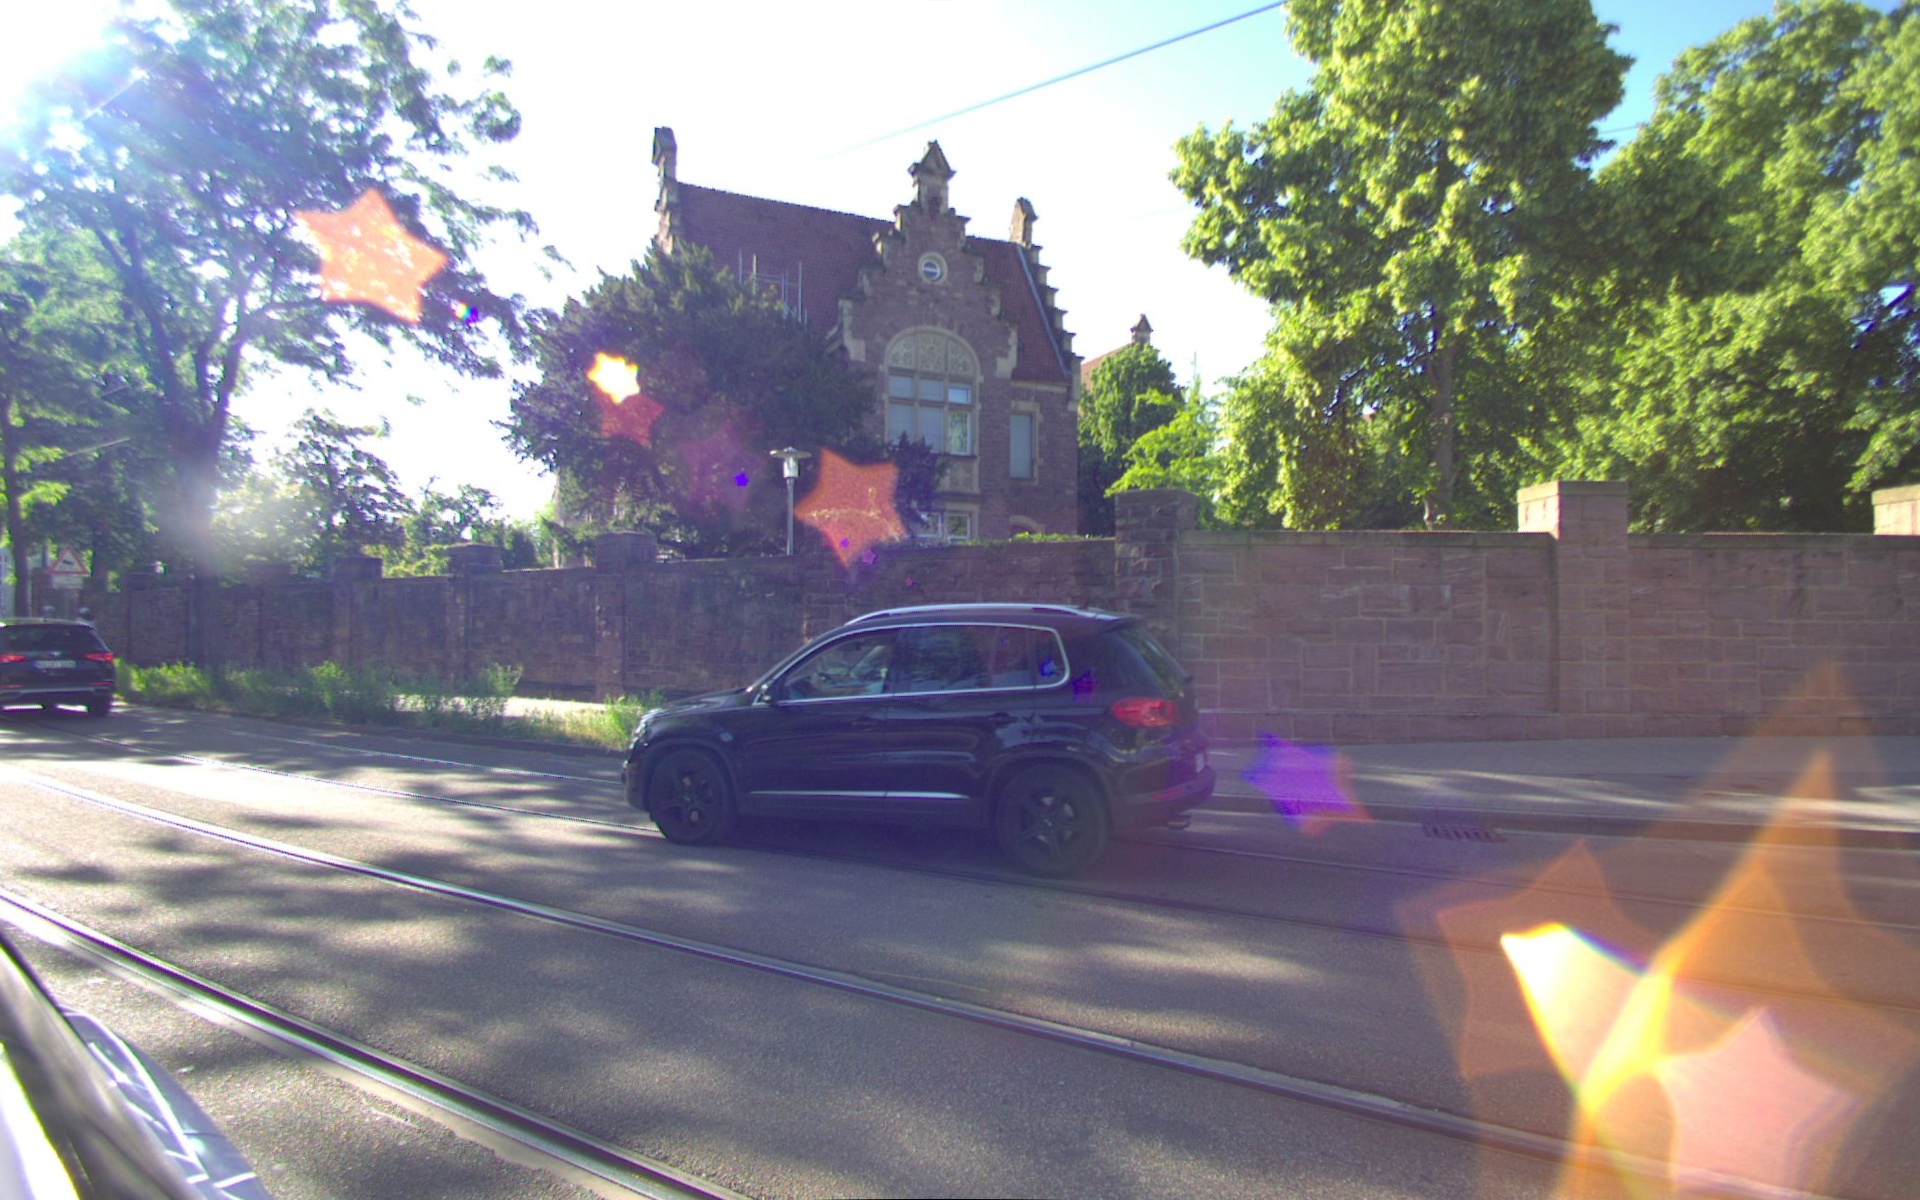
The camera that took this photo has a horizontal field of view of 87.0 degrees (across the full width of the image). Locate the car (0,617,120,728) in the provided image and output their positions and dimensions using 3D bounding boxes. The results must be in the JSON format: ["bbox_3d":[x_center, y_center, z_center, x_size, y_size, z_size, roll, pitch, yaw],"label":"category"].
[{"bbox_3d":[-15.757,1.199,16.662,4.106,1.629,1.905,-4,-2,34],"label":"car"}]

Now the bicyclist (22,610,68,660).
[{"bbox_3d":[-26.206,0.993,28.987,1.270,1.401,0.759,-1,-1,38],"label":"bicyclist"}]

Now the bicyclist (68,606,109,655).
[{"bbox_3d":[-25.729,0.887,29.893,1.059,1.401,0.725,-1,-1,38],"label":"bicyclist"}]

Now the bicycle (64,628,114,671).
[{"bbox_3d":[-25.722,1.448,29.877,2.085,1.200,0.724,-1,-1,38],"label":"bicycle"}]

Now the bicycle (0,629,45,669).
[{"bbox_3d":[-29.837,1.544,32.183,2.085,1.200,0.738,-1,-1,38],"label":"bicycle"}]

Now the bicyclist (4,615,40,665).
[{"bbox_3d":[-29.818,1.254,32.169,0.750,1.546,0.735,-1,-1,38],"label":"bicyclist"}]

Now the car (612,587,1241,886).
[{"bbox_3d":[-0.185,0.806,7.160,4.087,1.650,1.790,-1,-2,20],"label":"car"}]
